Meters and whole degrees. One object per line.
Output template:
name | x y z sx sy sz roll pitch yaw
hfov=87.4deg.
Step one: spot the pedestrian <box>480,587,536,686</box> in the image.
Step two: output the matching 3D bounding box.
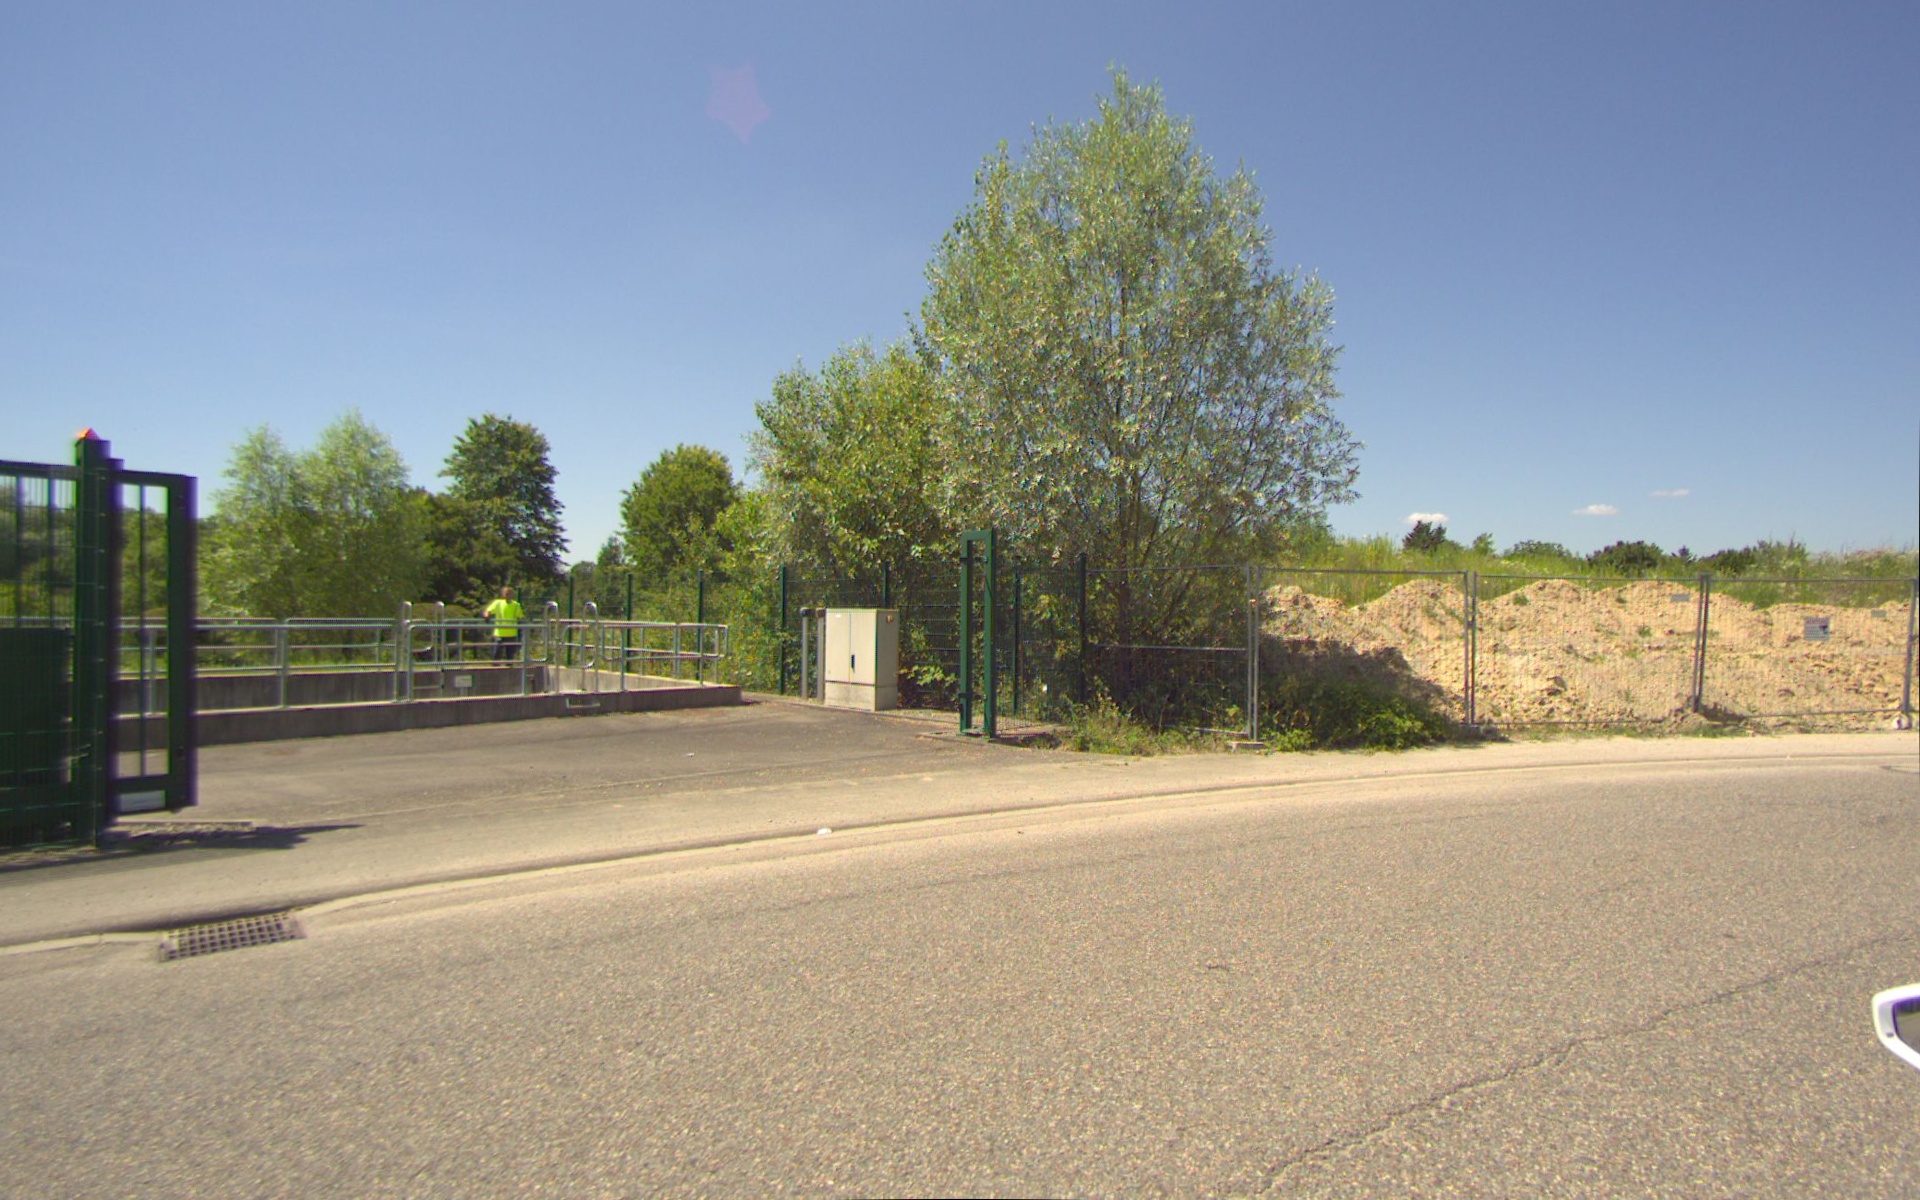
pedestrian | -8.786 0.712 19.521 0.599 1.863 0.800 -1 -2 43
